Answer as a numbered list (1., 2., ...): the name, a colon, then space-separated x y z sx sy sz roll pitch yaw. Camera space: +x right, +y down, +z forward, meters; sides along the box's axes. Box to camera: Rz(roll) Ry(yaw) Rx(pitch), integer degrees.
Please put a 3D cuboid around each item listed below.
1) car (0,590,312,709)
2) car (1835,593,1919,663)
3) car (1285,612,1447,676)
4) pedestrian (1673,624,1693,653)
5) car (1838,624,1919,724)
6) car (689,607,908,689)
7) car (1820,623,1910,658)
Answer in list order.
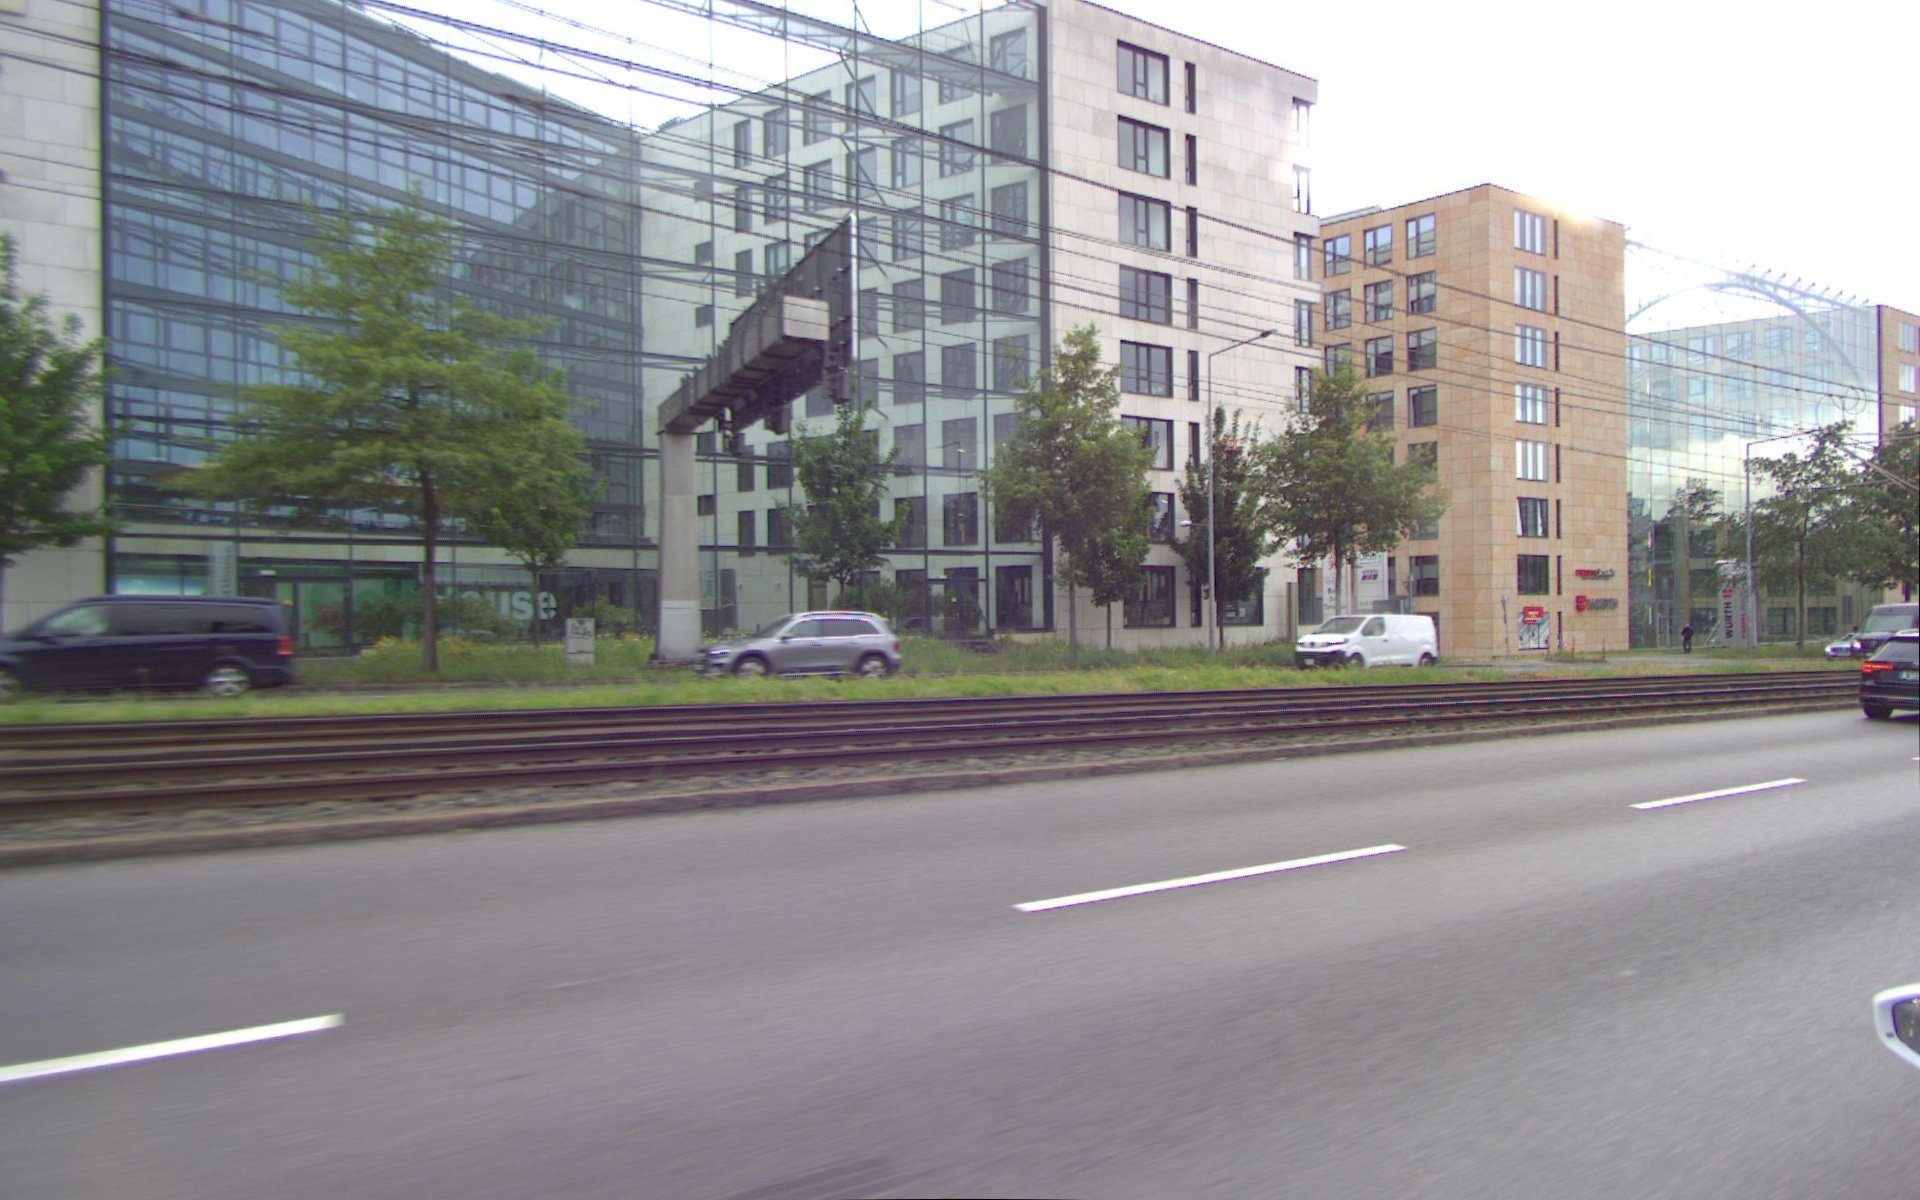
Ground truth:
1. car: -15.143 0.863 18.680 5.074 1.978 2.048 1 0 -31
2. car: 40.420 1.215 43.218 5.542 2.855 2.373 2 0 -28
3. car: 12.565 1.337 30.995 5.001 1.785 1.929 1 0 -29
4. pedestrian: 42.775 2.295 59.406 0.823 1.653 0.638 3 -1 -32
5. car: 16.083 1.152 15.997 4.750 1.432 1.777 1 0 -31
6. car: -3.535 1.027 22.222 4.437 1.627 1.801 1 0 -29
7. car: 43.297 1.950 48.041 4.758 1.554 1.752 1 0 -29
